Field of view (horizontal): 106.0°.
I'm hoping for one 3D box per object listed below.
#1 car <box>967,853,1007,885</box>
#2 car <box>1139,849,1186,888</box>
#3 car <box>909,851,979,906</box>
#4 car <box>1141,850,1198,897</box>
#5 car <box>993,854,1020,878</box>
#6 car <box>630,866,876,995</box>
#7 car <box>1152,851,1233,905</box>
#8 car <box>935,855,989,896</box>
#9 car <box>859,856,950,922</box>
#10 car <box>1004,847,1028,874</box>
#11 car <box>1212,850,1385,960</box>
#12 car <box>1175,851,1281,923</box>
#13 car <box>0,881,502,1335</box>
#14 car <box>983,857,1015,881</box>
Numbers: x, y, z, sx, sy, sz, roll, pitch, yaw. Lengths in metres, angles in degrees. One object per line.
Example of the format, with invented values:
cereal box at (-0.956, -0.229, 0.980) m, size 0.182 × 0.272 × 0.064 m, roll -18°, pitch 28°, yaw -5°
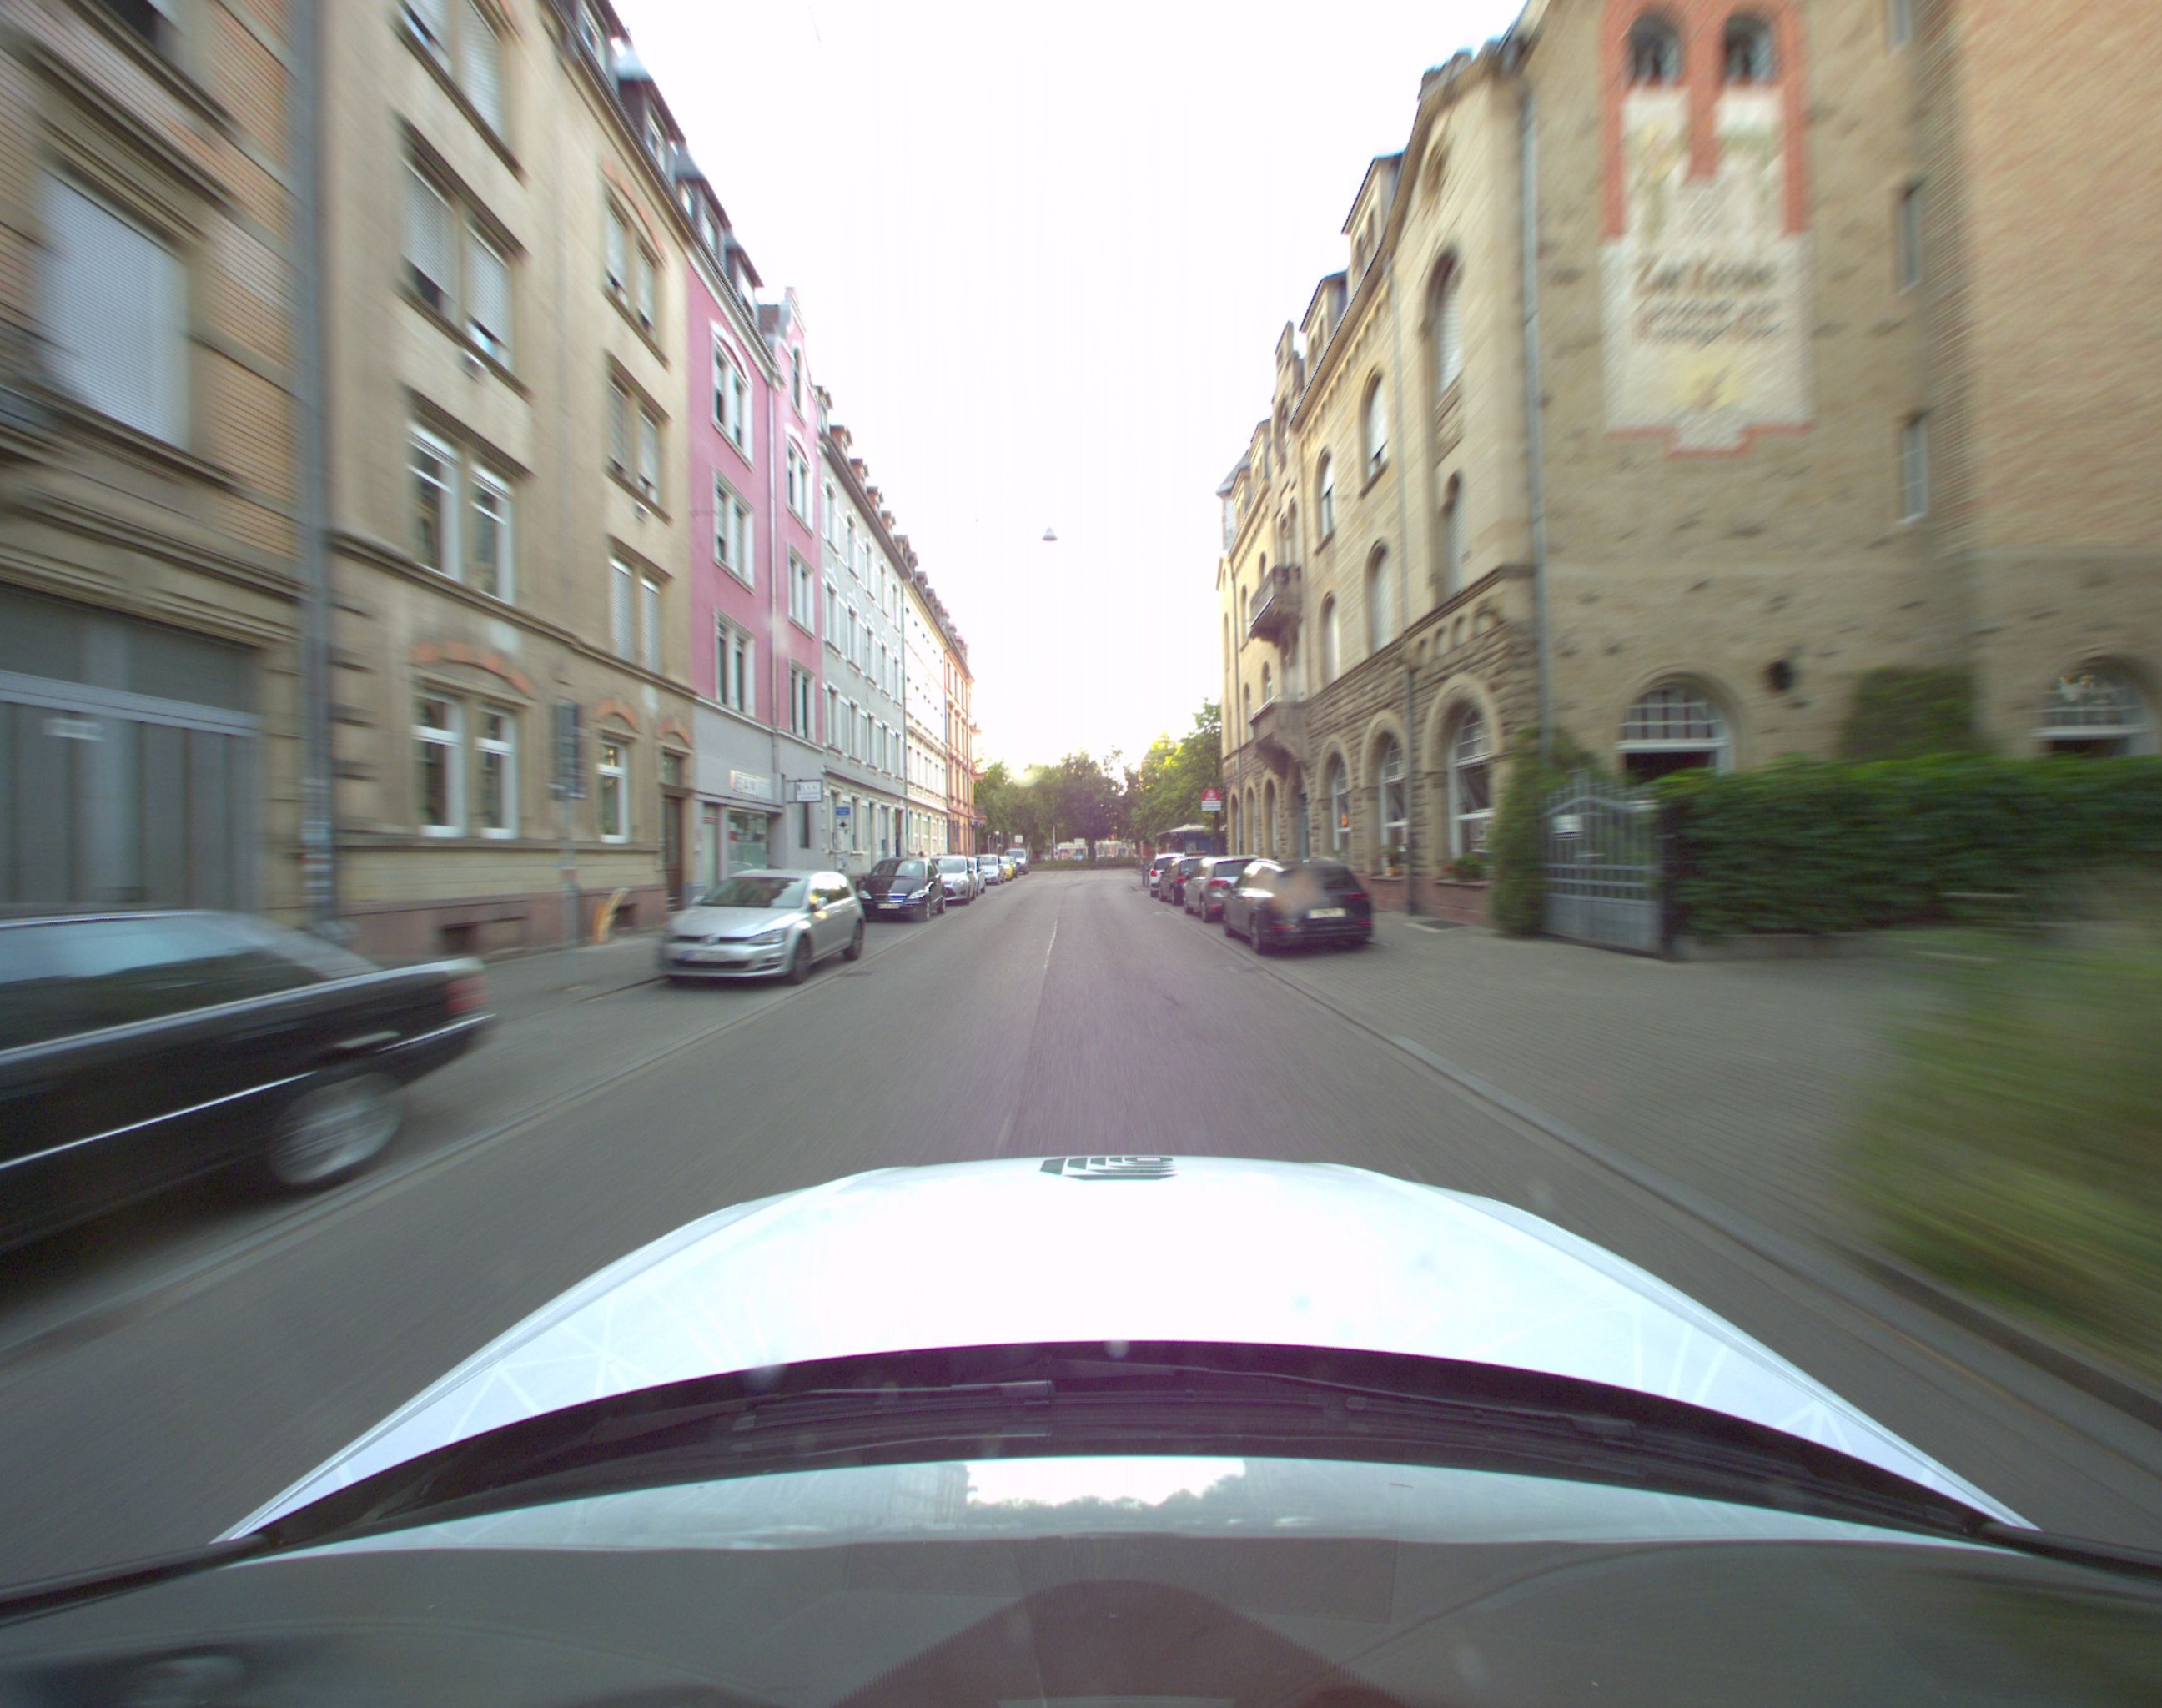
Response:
car at (-5.003, 0.755, 43.670) m, size 1.693 × 1.621 × 4.020 m, roll 0°, pitch 0°, yaw -1°
car at (3.584, 0.618, 36.396) m, size 1.670 × 1.501 × 4.019 m, roll -4°, pitch 0°, yaw 1°
car at (-4.543, 0.782, 27.561) m, size 1.841 × 1.659 × 4.247 m, roll -2°, pitch 0°, yaw -3°
car at (3.258, 0.682, 30.525) m, size 1.670 × 1.501 × 3.902 m, roll -4°, pitch 0°, yaw 1°
car at (-5.080, 0.810, 55.853) m, size 1.694 × 1.552 × 4.017 m, roll 0°, pitch 0°, yaw -3°
car at (-4.459, 0.944, 11.862) m, size 1.828 × 1.458 × 4.205 m, roll 1°, pitch 0°, yaw 0°
car at (3.401, 0.703, 25.501) m, size 1.673 × 1.456 × 3.795 m, roll -4°, pitch 0°, yaw -4°
car at (-4.786, 0.832, 33.081) m, size 1.693 × 1.552 × 3.568 m, roll 0°, pitch 0°, yaw -1°
car at (-4.535, 0.849, 21.380) m, size 1.631 × 1.565 × 3.779 m, roll 0°, pitch 0°, yaw -1°
car at (-5.129, 0.498, 64.001) m, size 1.807 × 1.977 × 4.179 m, roll 0°, pitch 0°, yaw -5°
car at (3.472, 0.727, 13.894) m, size 1.671 × 1.429 × 4.478 m, roll -5°, pitch 0°, yaw 0°
car at (3.457, 0.722, 19.898) m, size 1.671 × 1.456 × 4.228 m, roll -4°, pitch 0°, yaw -1°
car at (-4.384, 0.853, 2.562) m, size 1.731 × 1.418 × 4.776 m, roll 0°, pitch -1°, yaw -1°
car at (-4.990, 0.881, 49.924) m, size 1.694 × 1.426 × 4.017 m, roll 0°, pitch 0°, yaw -3°
